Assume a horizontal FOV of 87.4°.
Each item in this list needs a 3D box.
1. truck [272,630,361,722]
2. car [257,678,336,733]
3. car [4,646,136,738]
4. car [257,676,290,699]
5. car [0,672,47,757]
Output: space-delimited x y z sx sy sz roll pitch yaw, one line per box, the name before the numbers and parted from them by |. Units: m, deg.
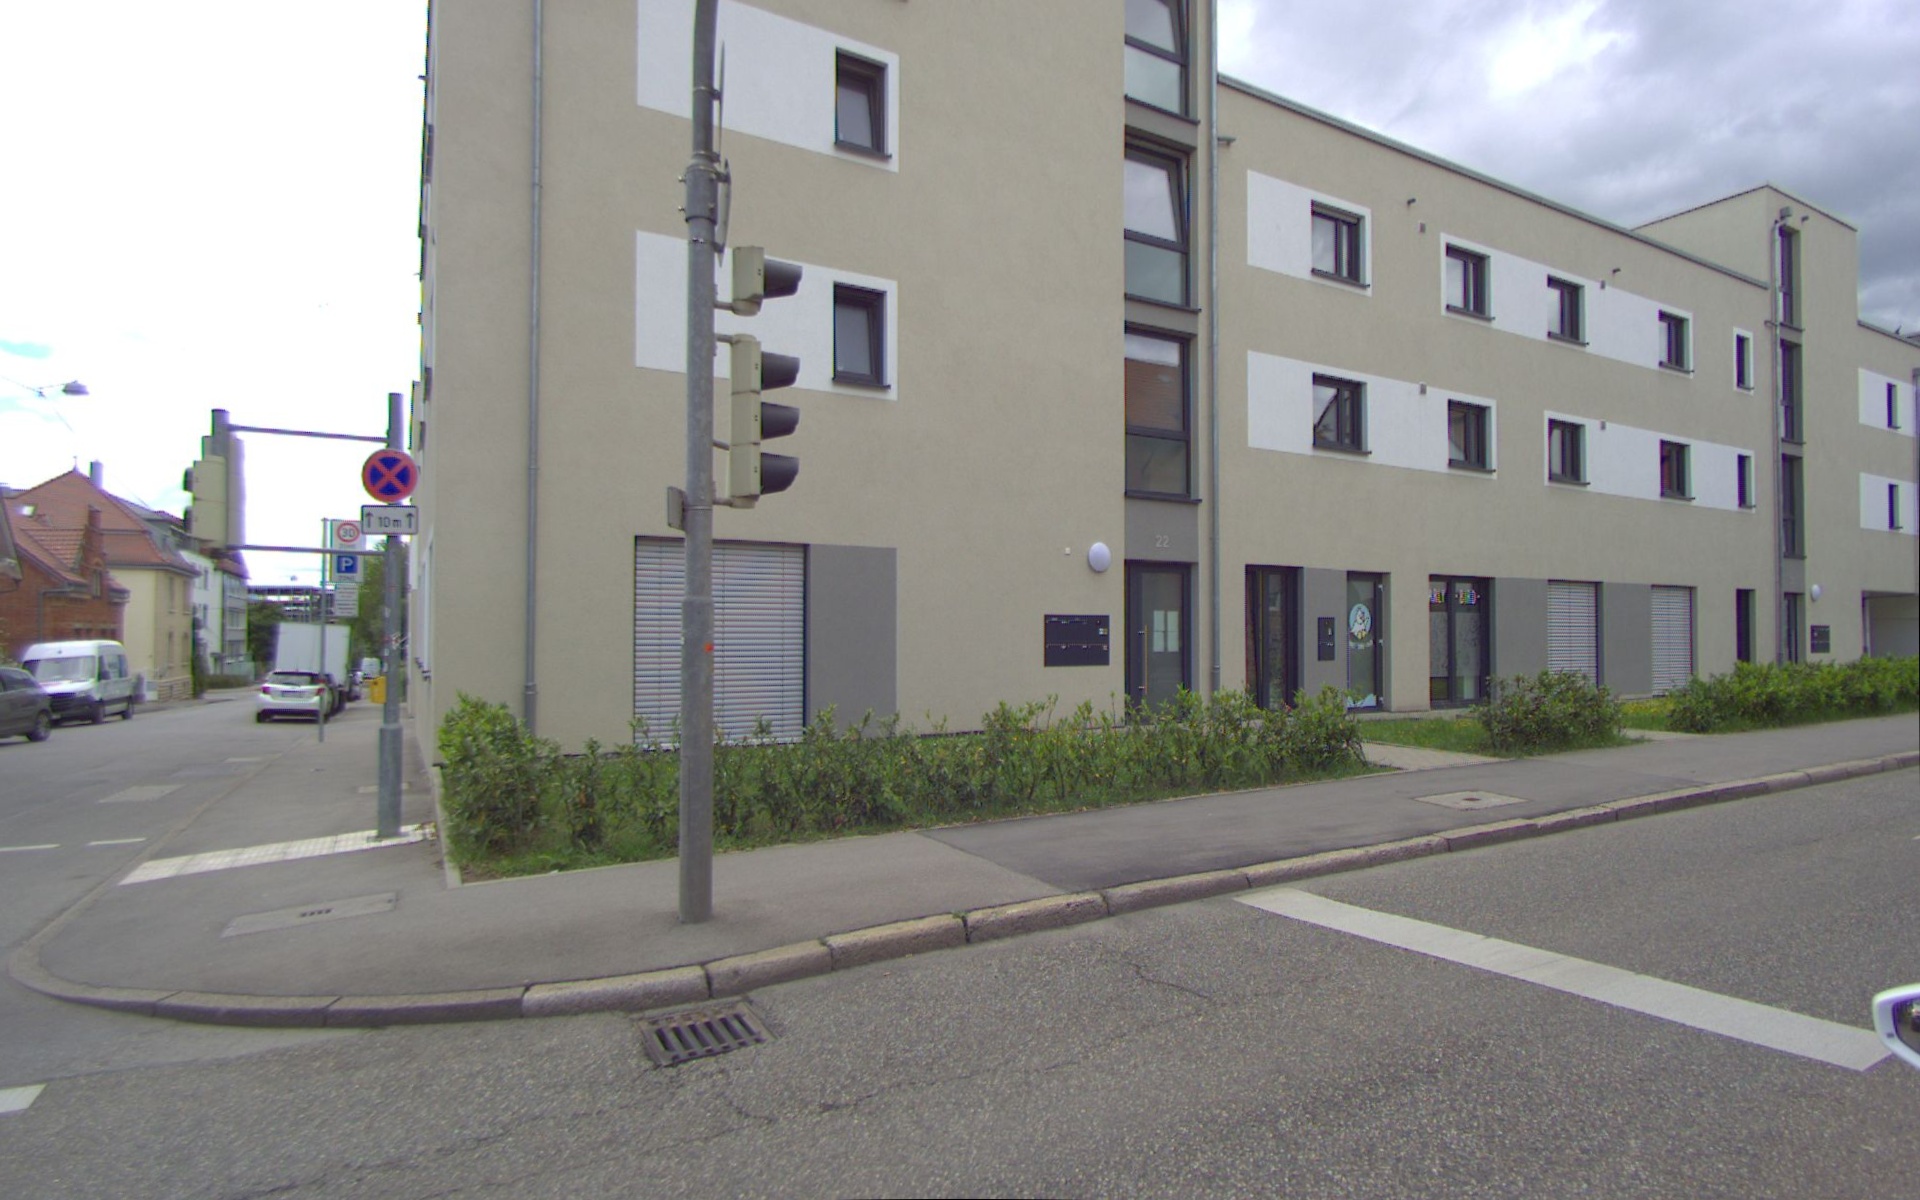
truck | -24.801 2.911 38.936 2.420 3.274 6.170 1 -4 -29
car | -19.517 3.067 29.693 1.729 1.440 3.968 1 -4 -31
car | -27.314 2.788 31.074 2.017 2.542 5.942 1 -4 -32
car | -57.114 7.270 83.607 1.976 1.528 3.968 1 -1 -30
car | -19.251 2.239 19.117 1.874 1.605 3.971 -2 -3 -29
